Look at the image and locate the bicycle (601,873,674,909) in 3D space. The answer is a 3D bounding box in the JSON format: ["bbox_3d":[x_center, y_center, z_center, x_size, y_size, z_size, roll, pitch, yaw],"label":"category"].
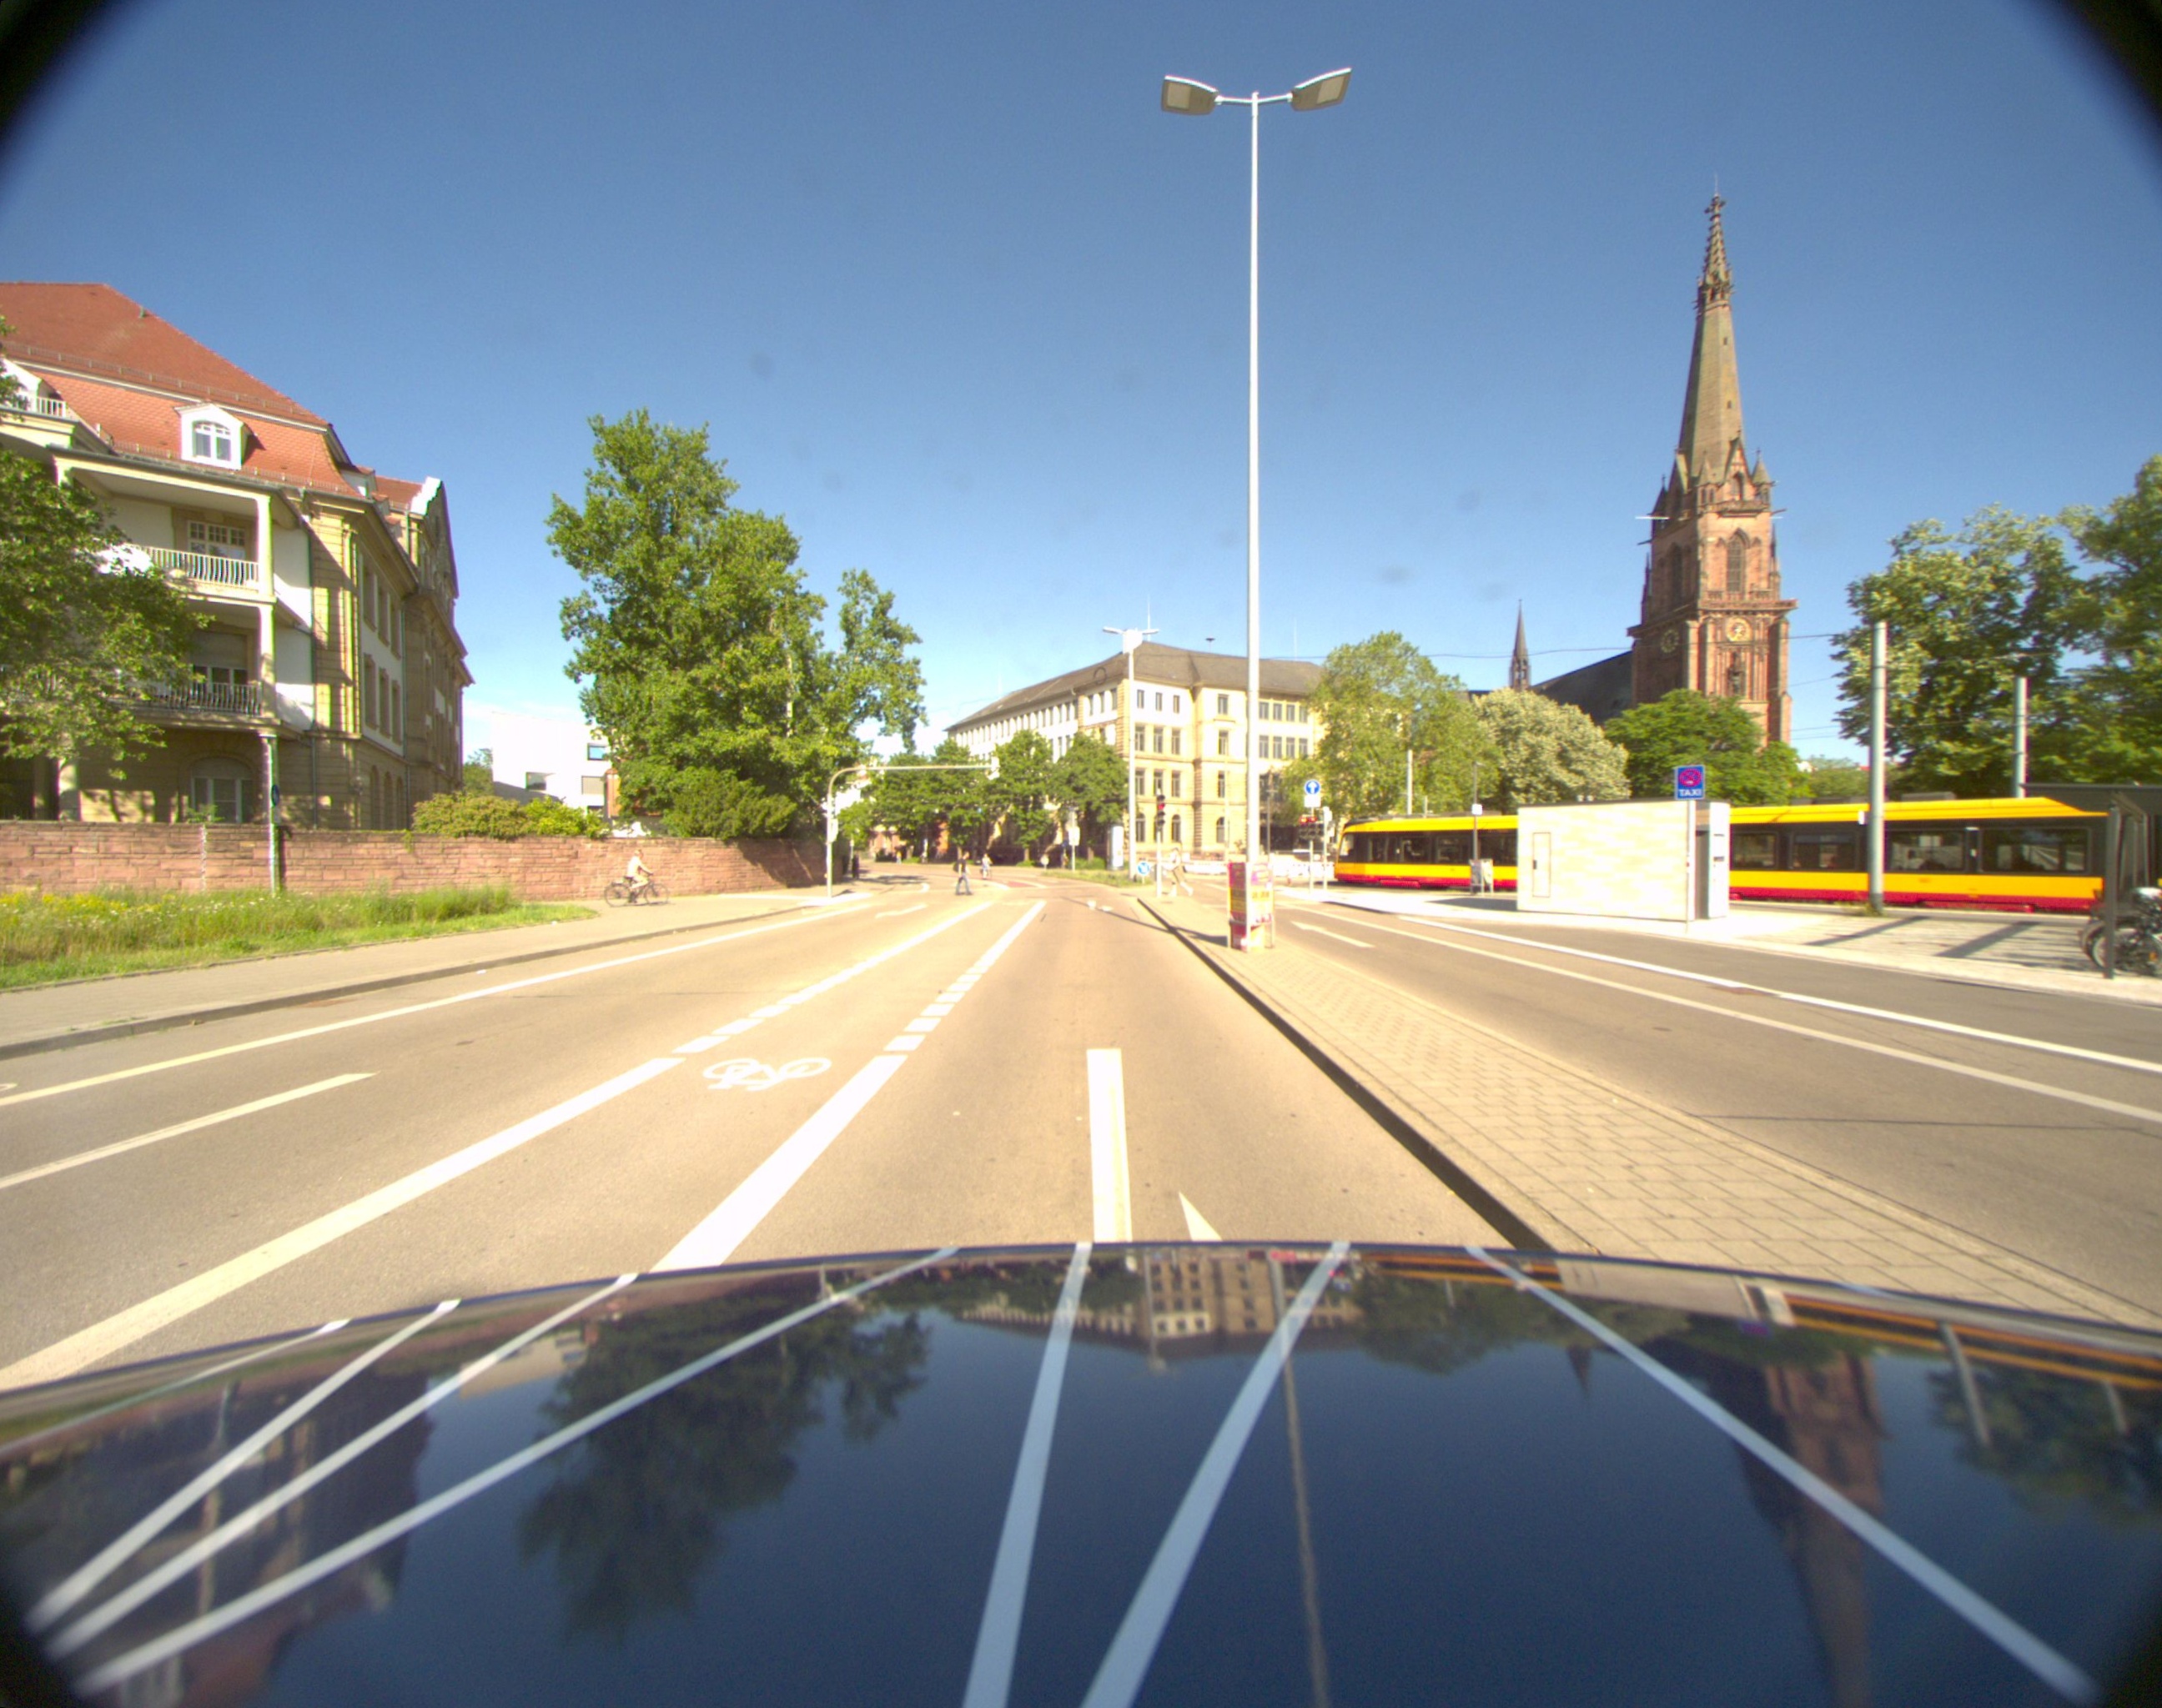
[{"bbox_3d":[-13.690,1.112,23.463,1.888,1.064,0.723,1,0,-33],"label":"bicycle"}]

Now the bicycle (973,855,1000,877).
[{"bbox_3d":[-6.167,0.761,49.448,0.763,1.360,2.731,-1,1,-28],"label":"bicycle"}]

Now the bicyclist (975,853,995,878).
[{"bbox_3d":[-6.237,0.742,49.447,0.871,1.551,1.277,-1,1,-29],"label":"bicyclist"}]

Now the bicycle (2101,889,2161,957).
[{"bbox_3d":[17.168,1.093,11.617,0.630,1.002,1.826,-1,1,-32],"label":"bicycle"}]

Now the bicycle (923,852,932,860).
[{"bbox_3d":[-19.354,0.266,95.749,0.602,1.000,1.983,-3,1,-28],"label":"bicycle"}]

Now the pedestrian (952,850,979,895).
[{"bbox_3d":[-4.840,0.766,31.795,0.960,1.839,0.731,1,1,3],"label":"pedestrian"}]

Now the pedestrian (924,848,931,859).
[{"bbox_3d":[-19.282,-0.053,95.601,0.597,1.394,0.644,-3,2,-28],"label":"pedestrian"}]

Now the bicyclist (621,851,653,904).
[{"bbox_3d":[-13.697,0.712,23.461,0.779,1.596,0.721,-2,1,-33],"label":"bicyclist"}]

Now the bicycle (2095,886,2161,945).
[{"bbox_3d":[19.529,1.117,13.449,0.630,1.002,1.826,-1,1,-32],"label":"bicycle"}]

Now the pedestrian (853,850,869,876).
[{"bbox_3d":[-14.522,0.605,50.112,0.940,1.711,0.994,0,1,-12],"label":"pedestrian"}]

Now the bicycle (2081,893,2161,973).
[{"bbox_3d":[15.144,1.110,10.320,0.574,1.045,1.826,-1,1,-32],"label":"bicycle"}]

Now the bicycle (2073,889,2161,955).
[{"bbox_3d":[17.816,1.130,12.453,0.630,1.002,1.826,-1,1,-32],"label":"bicycle"}]

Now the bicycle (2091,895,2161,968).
[{"bbox_3d":[16.181,1.155,10.992,0.630,1.002,1.826,-1,1,-32],"label":"bicycle"}]

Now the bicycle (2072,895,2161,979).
[{"bbox_3d":[14.674,1.124,10.054,0.630,1.059,1.826,-1,1,-32],"label":"bicycle"}]

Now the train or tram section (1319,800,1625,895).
[{"bbox_3d":[16.921,-0.287,34.605,2.806,3.580,12.504,-1,1,-35],"label":"train or tram section"}]

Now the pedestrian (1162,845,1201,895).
[{"bbox_3d":[3.807,0.586,28.807,1.230,1.845,0.826,0,1,-14],"label":"pedestrian"}]

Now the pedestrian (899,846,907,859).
[{"bbox_3d":[-25.195,-0.184,107.307,0.759,1.802,0.977,-1,1,-40],"label":"pedestrian"}]

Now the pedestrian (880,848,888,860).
[{"bbox_3d":[-30.249,-0.020,116.607,0.759,1.801,0.978,-1,-3,-33],"label":"pedestrian"}]

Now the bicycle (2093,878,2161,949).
[{"bbox_3d":[18.950,1.041,13.041,0.630,1.173,1.826,-1,1,-32],"label":"bicycle"}]

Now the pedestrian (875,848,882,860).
[{"bbox_3d":[-30.988,0.013,116.108,0.758,1.801,0.978,-1,-3,-30],"label":"pedestrian"}]

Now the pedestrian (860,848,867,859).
[{"bbox_3d":[-35.552,-0.067,124.391,0.759,1.802,0.978,-1,1,-38],"label":"pedestrian"}]

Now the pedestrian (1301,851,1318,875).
[{"bbox_3d":[16.598,0.669,55.285,0.932,1.731,0.808,1,1,42],"label":"pedestrian"}]

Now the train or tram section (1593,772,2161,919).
[{"bbox_3d":[23.987,-0.245,24.430,2.806,3.580,12.294,-1,1,-35],"label":"train or tram section"}]

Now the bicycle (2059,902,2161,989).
[{"bbox_3d":[13.940,1.201,9.586,0.702,1.002,1.863,-1,2,-32],"label":"bicycle"}]
